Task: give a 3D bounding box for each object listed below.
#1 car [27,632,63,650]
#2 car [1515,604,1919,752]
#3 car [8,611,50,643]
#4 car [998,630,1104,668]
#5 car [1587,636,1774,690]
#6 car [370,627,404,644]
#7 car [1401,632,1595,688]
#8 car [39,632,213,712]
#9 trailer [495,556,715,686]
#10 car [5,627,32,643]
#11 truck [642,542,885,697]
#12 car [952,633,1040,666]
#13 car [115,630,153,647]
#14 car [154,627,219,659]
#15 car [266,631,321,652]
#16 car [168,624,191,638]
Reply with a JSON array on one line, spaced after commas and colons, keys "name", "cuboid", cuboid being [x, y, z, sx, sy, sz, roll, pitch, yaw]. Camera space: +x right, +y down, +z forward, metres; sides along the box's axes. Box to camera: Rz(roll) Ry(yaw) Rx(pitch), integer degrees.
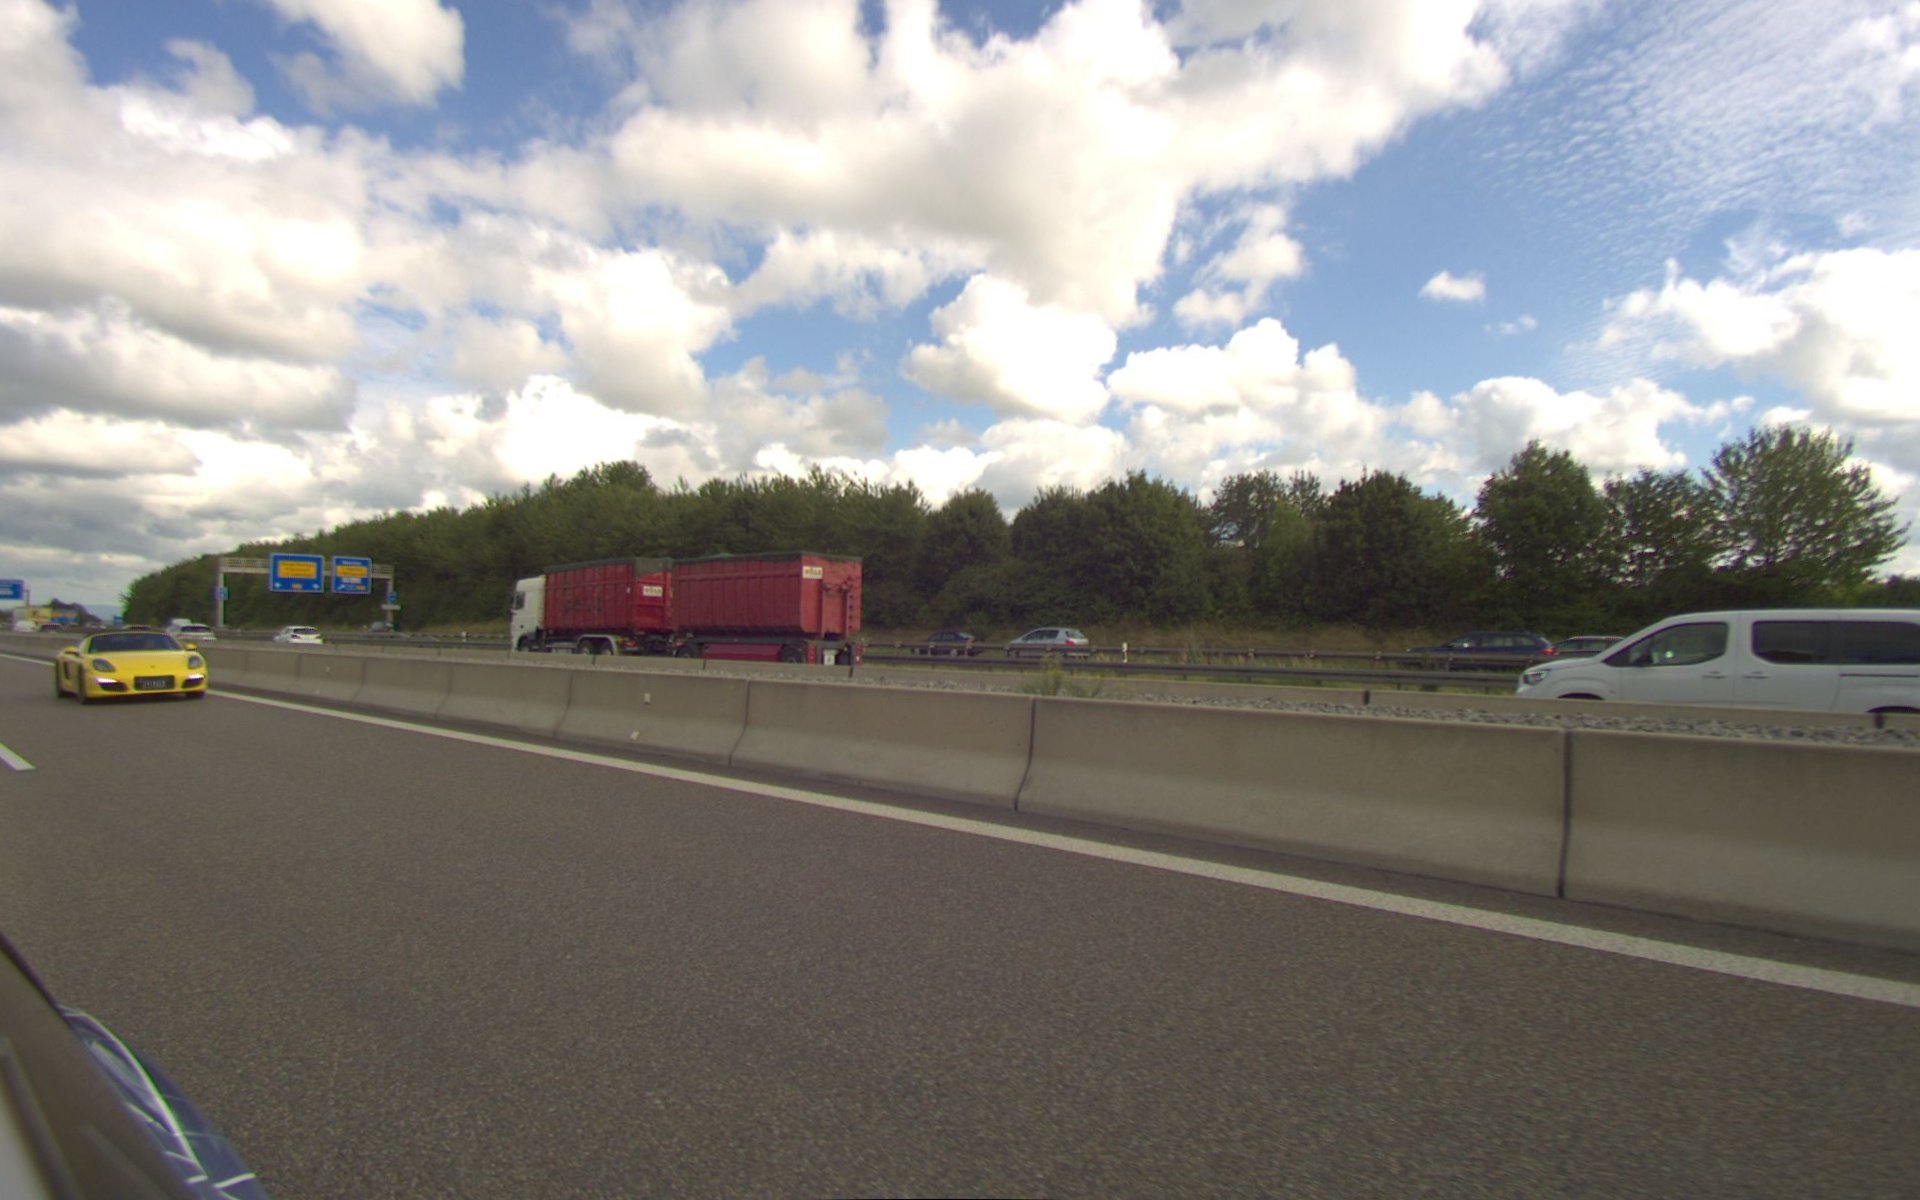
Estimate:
[{"name": "car", "cuboid": [-72.967, 3.230, 80.684, 4.073, 1.413, 1.738, -1, -2, 42]}, {"name": "car", "cuboid": [9.576, 0.842, 12.051, 4.939, 1.543, 1.745, -1, -2, 41]}, {"name": "car", "cuboid": [-132.327, 3.888, 143.808, 14.138, 4.358, 2.875, -2, -2, 41]}, {"name": "car", "cuboid": [3.935, 2.103, 44.074, 4.450, 1.545, 1.711, -1, -1, 41]}, {"name": "car", "cuboid": [23.155, 1.972, 32.658, 4.801, 1.577, 1.729, -1, -2, 40]}, {"name": "car", "cuboid": [-61.190, 3.776, 108.097, 4.418, 1.674, 1.862, -1, -2, 42]}, {"name": "car", "cuboid": [16.249, 1.749, 30.724, 4.939, 1.543, 1.745, -1, -1, 41]}, {"name": "car", "cuboid": [-15.640, 1.273, 18.906, 4.245, 1.325, 1.787, -2, -3, 41]}, {"name": "trailer", "cuboid": [-13.752, 0.827, 38.449, 10.649, 4.321, 3.015, -1, -2, 41]}, {"name": "car", "cuboid": [-110.016, 4.099, 118.224, 5.121, 1.808, 1.715, -1, -2, 41]}, {"name": "truck", "cuboid": [-6.476, 0.649, 32.326, 8.583, 4.321, 3.015, -1, -2, 41]}, {"name": "car", "cuboid": [1.826, 2.495, 51.943, 4.451, 1.545, 1.710, -1, -1, 42]}, {"name": "car", "cuboid": [-62.740, 2.914, 76.835, 4.240, 1.294, 1.563, -1, -2, 42]}, {"name": "car", "cuboid": [-38.644, 2.115, 50.508, 4.641, 1.516, 1.671, -1, -2, 41]}, {"name": "car", "cuboid": [-38.820, 2.403, 58.935, 4.128, 1.202, 1.638, -1, -2, 41]}, {"name": "car", "cuboid": [-131.334, 5.168, 170.268, 5.889, 2.252, 1.972, -2, -2, 43]}]
